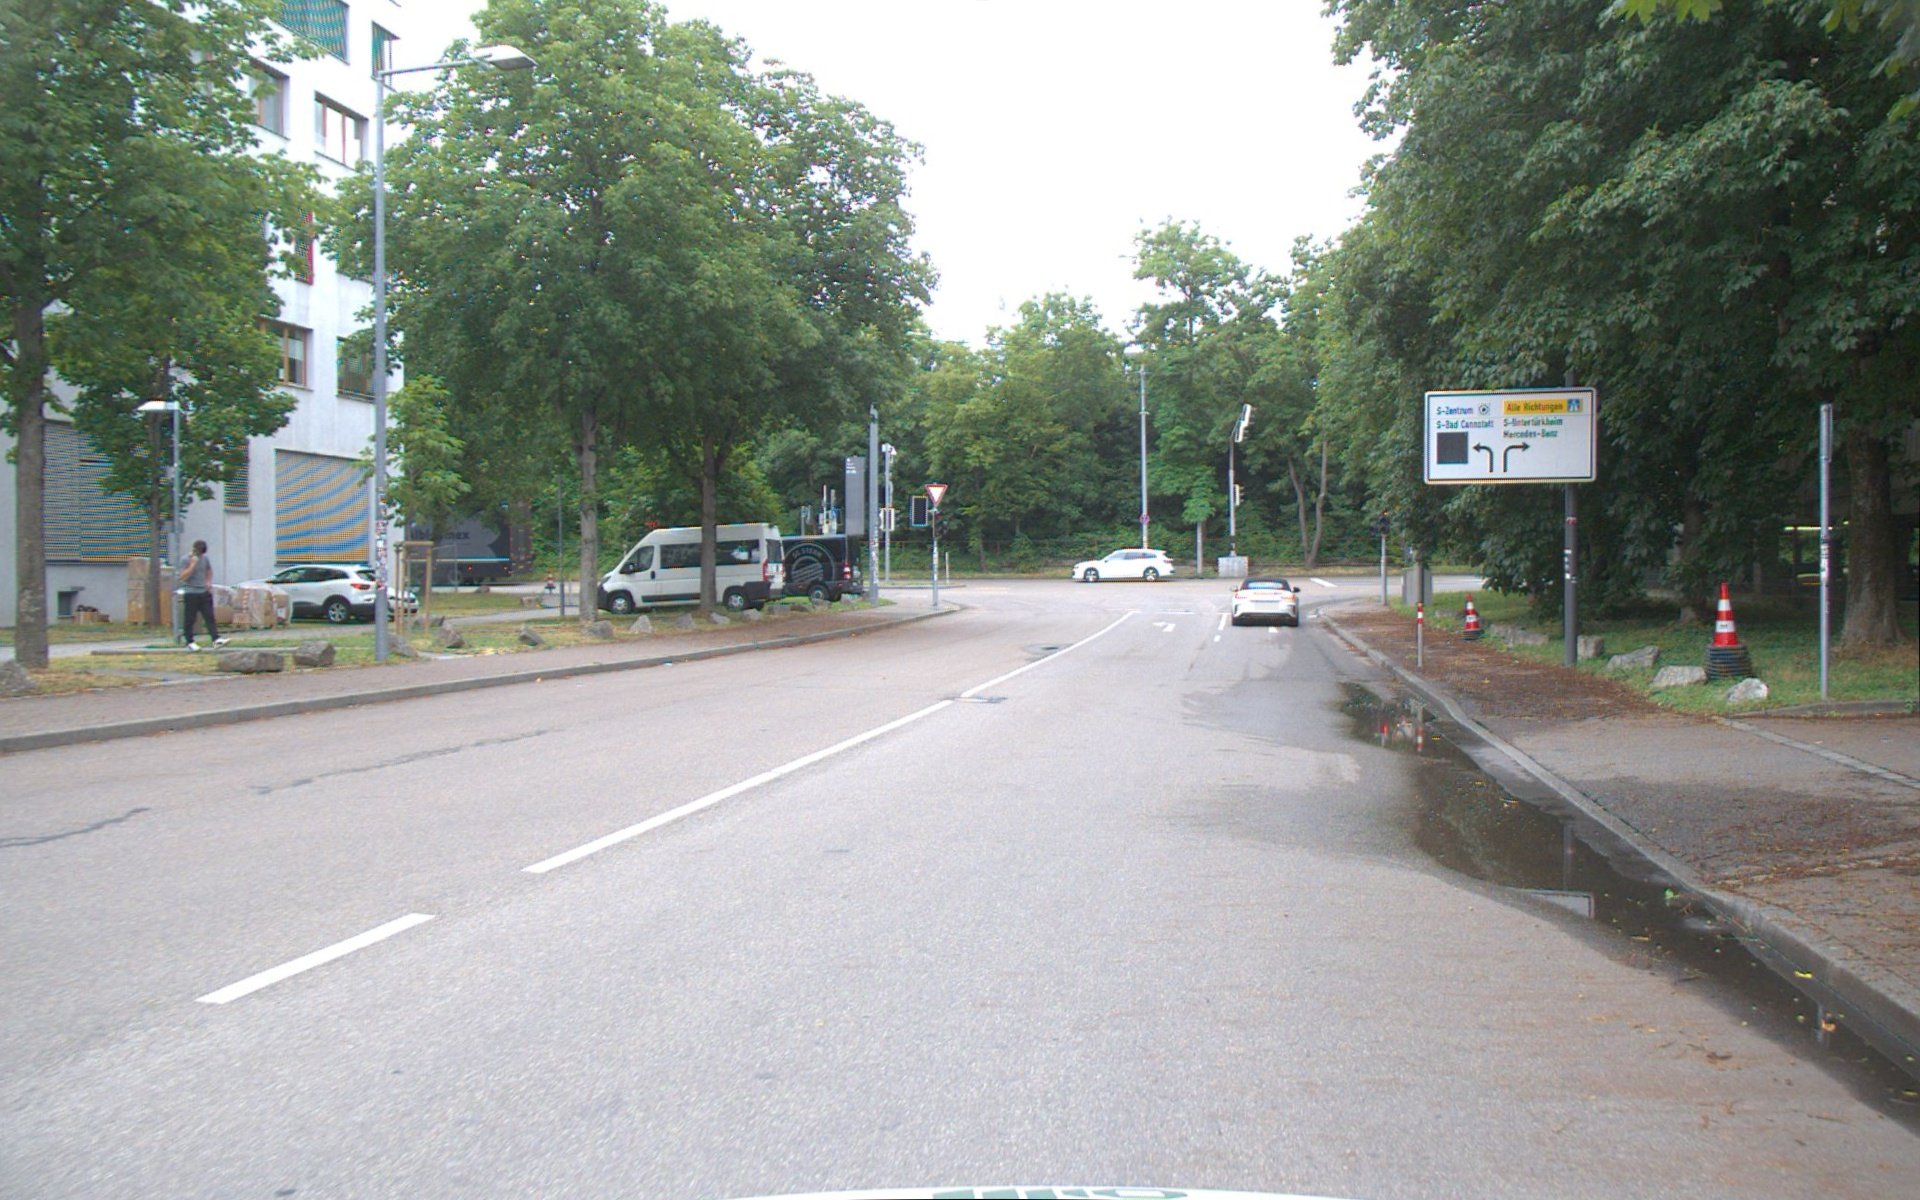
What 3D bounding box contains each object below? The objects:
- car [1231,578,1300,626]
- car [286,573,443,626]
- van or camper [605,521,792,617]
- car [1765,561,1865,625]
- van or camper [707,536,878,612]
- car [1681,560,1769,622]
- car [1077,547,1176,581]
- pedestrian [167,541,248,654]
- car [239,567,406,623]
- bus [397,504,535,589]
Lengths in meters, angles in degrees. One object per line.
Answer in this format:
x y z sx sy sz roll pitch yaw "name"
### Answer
8.665 0.059 47.135 1.788 1.279 4.003 1 0 8 "car"
-17.659 -0.005 49.154 3.913 1.481 1.901 1 0 6 "car"
-7.484 -0.877 47.581 4.864 2.615 2.063 1 0 8 "van or camper"
24.627 -0.185 47.757 1.546 1.738 3.772 1 0 11 "car"
-5.712 -0.868 56.707 5.417 2.354 2.063 -2 -1 12 "van or camper"
22.361 -0.240 48.477 1.449 1.738 3.722 1 0 11 "car"
7.846 -1.701 78.139 4.574 1.481 1.901 1 0 6 "car"
-11.599 -0.039 25.502 0.825 1.701 0.787 1 -1 5 "pedestrian"
-17.929 -0.142 46.586 3.913 1.481 1.901 1 0 6 "car"
-24.357 -2.638 81.649 6.086 4.027 2.352 1 0 10 "bus"
